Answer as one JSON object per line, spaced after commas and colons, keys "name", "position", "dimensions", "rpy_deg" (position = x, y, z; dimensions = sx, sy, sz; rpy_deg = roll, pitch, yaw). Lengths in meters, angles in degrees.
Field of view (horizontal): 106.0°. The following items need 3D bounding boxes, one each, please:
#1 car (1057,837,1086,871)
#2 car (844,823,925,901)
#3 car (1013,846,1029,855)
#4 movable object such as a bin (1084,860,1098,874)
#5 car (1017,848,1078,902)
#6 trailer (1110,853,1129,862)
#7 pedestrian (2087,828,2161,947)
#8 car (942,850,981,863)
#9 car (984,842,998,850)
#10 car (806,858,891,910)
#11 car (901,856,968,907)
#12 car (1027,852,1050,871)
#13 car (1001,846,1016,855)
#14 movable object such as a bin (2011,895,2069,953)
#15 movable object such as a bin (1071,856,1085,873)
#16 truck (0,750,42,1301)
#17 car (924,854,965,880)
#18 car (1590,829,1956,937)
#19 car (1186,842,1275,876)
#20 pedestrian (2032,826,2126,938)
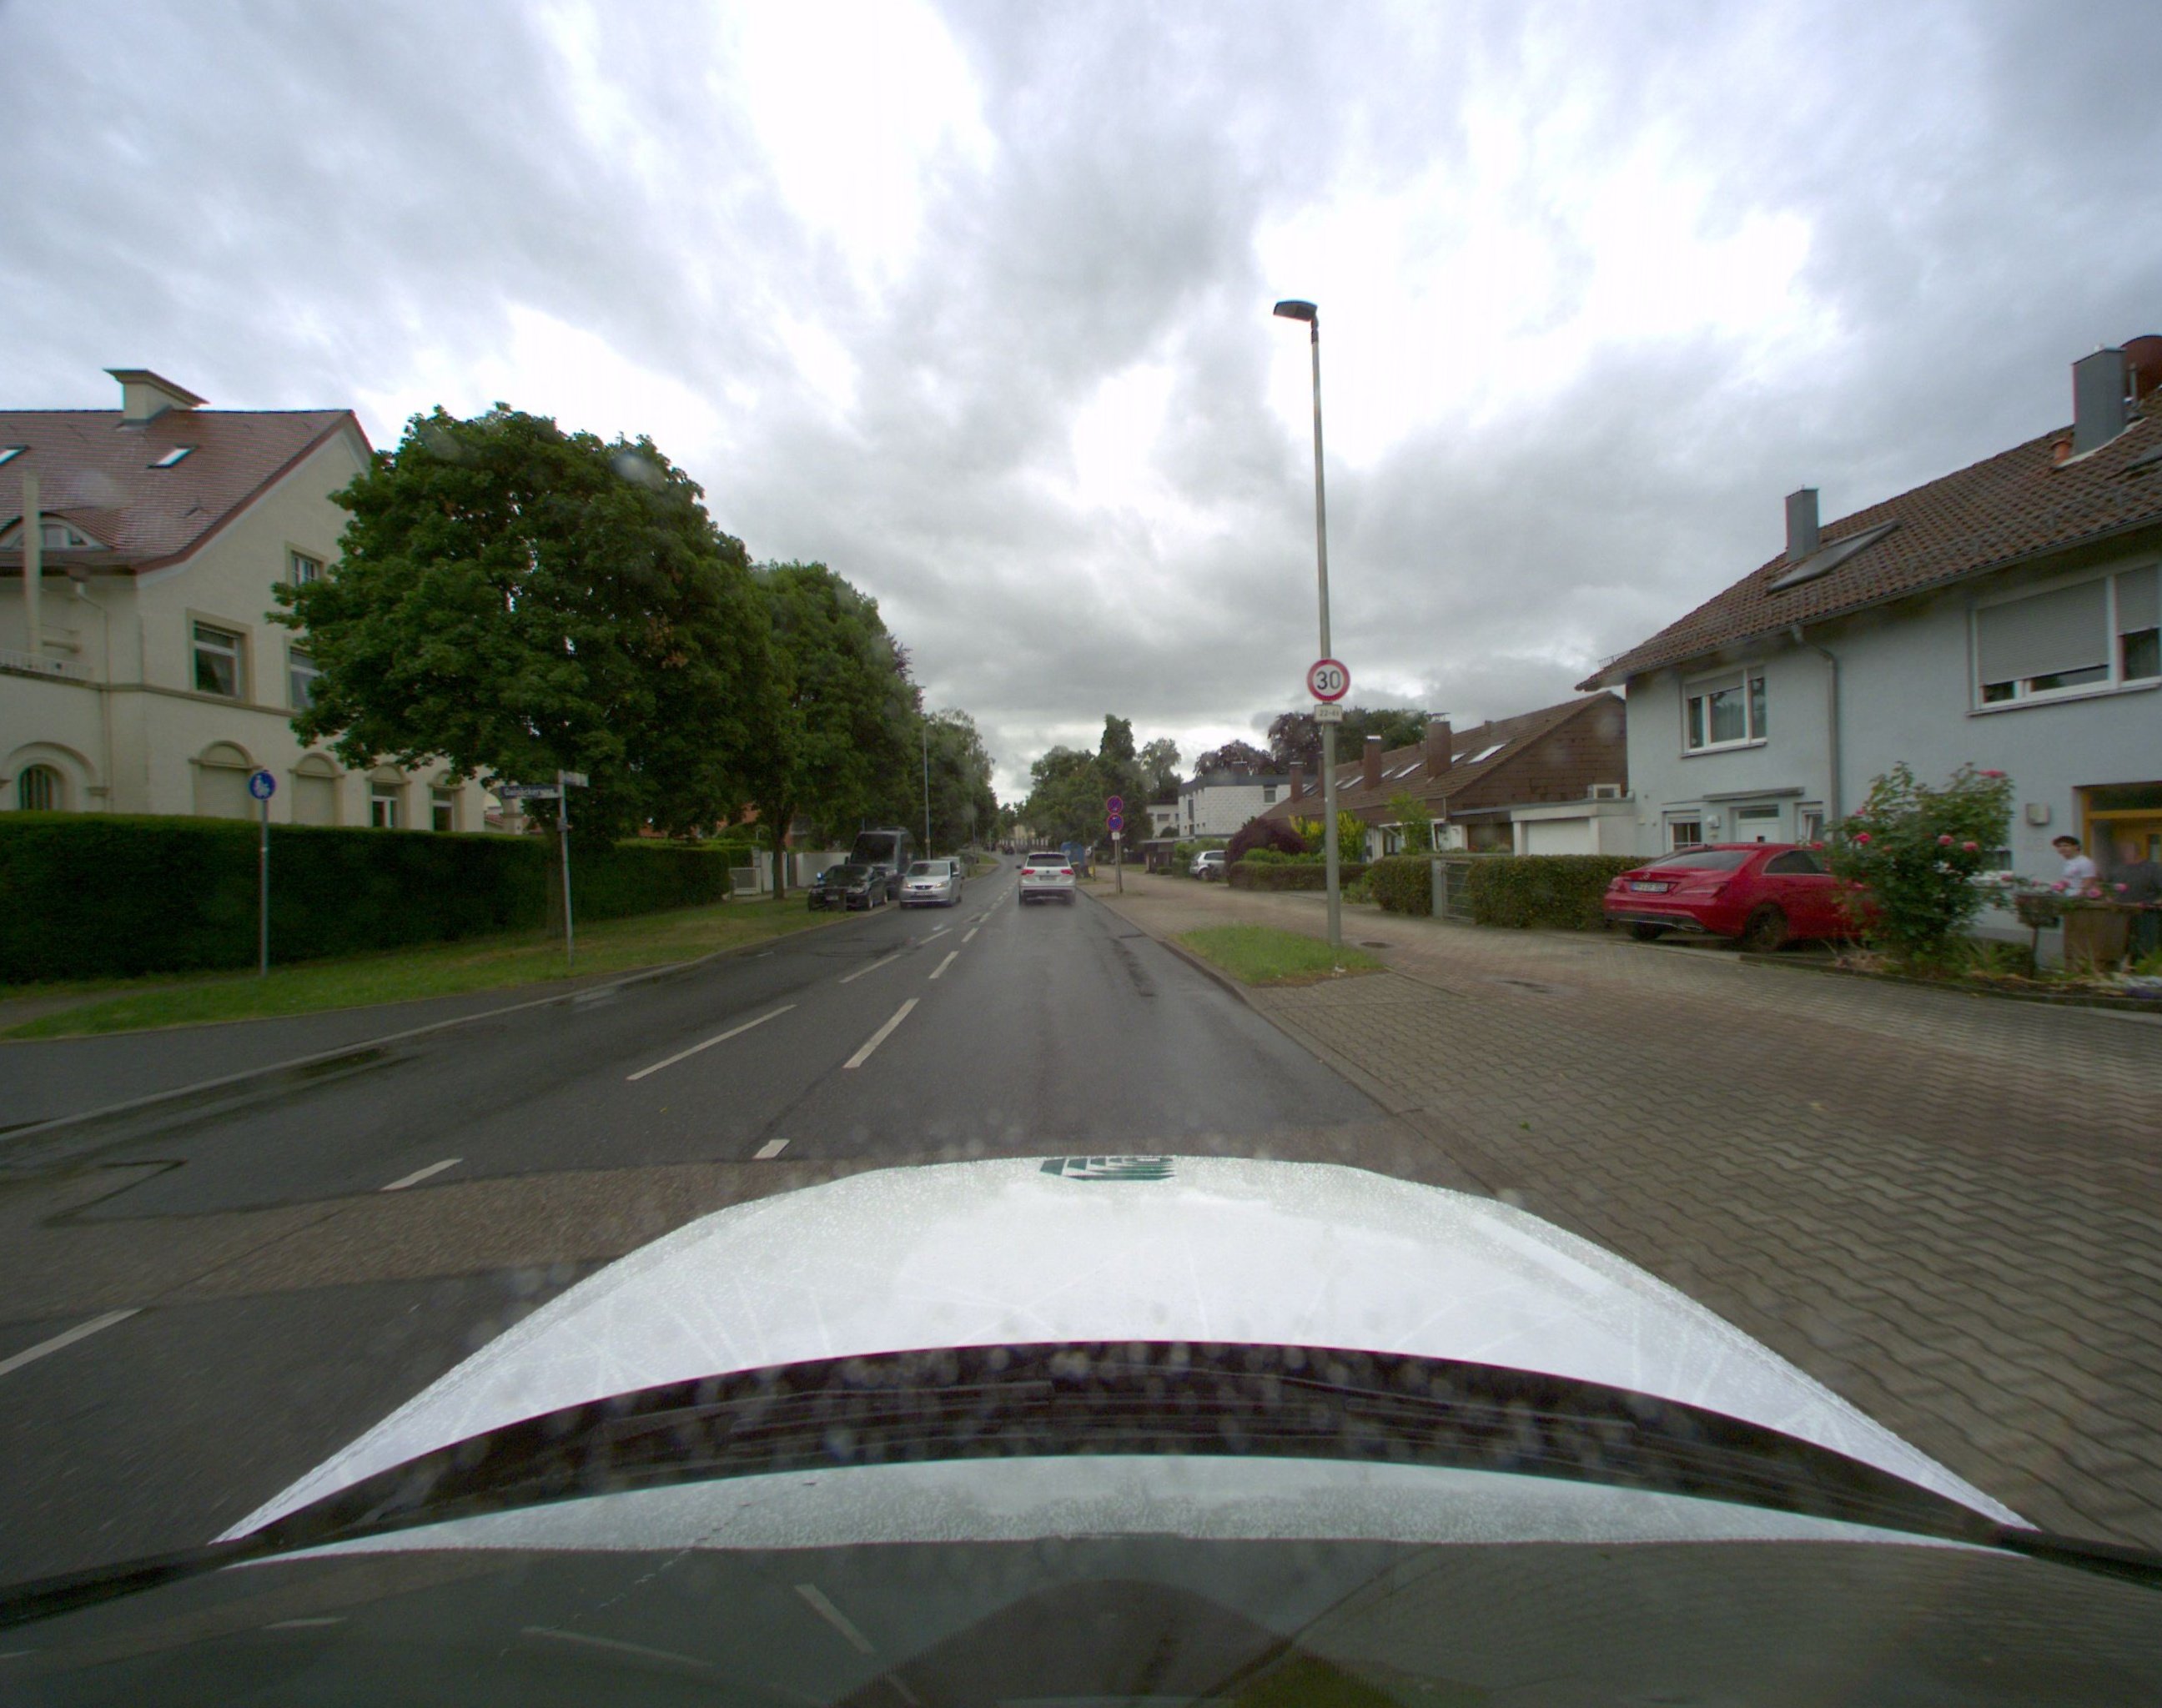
{"name": "car", "position": [-0.859, -0.058, 68.686], "dimensions": [1.990, 2.586, 5.625], "rpy_deg": [-4, 1, -4]}
{"name": "car", "position": [-7.562, 0.245, 31.988], "dimensions": [1.989, 2.728, 5.931], "rpy_deg": [-1, 1, -3]}
{"name": "car", "position": [-10.477, -0.619, 142.277], "dimensions": [1.649, 1.427, 3.970], "rpy_deg": [-1, 2, -23]}
{"name": "movable object such as a bin", "position": [0.623, 0.806, 51.876], "dimensions": [0.653, 0.800, 0.604], "rpy_deg": [-6, -1, 21]}
{"name": "car", "position": [-1.185, 0.648, 27.174], "dimensions": [1.862, 1.651, 3.994], "rpy_deg": [-1, 0, -4]}
{"name": "trailer", "position": [4.340, 0.373, 91.976], "dimensions": [2.036, 0.883, 1.364], "rpy_deg": [-1, 1, -1]}
{"name": "pedestrian", "position": [12.478, 0.378, 9.640], "dimensions": [0.537, 1.351, 0.526], "rpy_deg": [-2, 0, -17]}
{"name": "car", "position": [-14.127, 0.304, 96.416], "dimensions": [4.204, 1.362, 1.690], "rpy_deg": [-1, 1, 0]}
{"name": "car", "position": [-17.232, -1.459, 155.952], "dimensions": [1.648, 1.427, 3.973], "rpy_deg": [-1, 2, -21]}
{"name": "car", "position": [-7.051, 0.857, 25.046], "dimensions": [1.719, 1.408, 3.820], "rpy_deg": [-2, 0, -4]}
{"name": "car", "position": [-4.705, 0.835, 26.582], "dimensions": [1.590, 1.464, 3.450], "rpy_deg": [-3, 0, -2]}
{"name": "car", "position": [-3.736, 0.629, 71.159], "dimensions": [1.766, 1.551, 3.993], "rpy_deg": [-3, 0, -5]}
{"name": "car", "position": [-12.487, -0.635, 140.470], "dimensions": [1.648, 1.427, 3.973], "rpy_deg": [-1, 2, -21]}
{"name": "movable object such as a bin", "position": [10.967, 0.795, 9.319], "dimensions": [0.255, 0.626, 0.325], "rpy_deg": [-3, 0, -3]}
{"name": "movable object such as a bin", "position": [-0.211, 0.682, 52.317], "dimensions": [0.609, 1.015, 0.565], "rpy_deg": [-7, -1, 21]}
{"name": "truck", "position": [-5.640, 0.731, 0.195], "dimensions": [2.207, 2.203, 6.470], "rpy_deg": [-2, 0, 4]}
{"name": "car", "position": [-8.292, 0.763, 49.702], "dimensions": [1.990, 1.403, 4.550], "rpy_deg": [-2, 1, -4]}
{"name": "car", "position": [9.508, 0.328, 11.262], "dimensions": [4.309, 1.260, 1.671], "rpy_deg": [-1, 1, -14]}
{"name": "car", "position": [7.387, 0.255, 40.524], "dimensions": [3.981, 1.442, 1.844], "rpy_deg": [-3, 0, -6]}
{"name": "pedestrian", "position": [12.452, 0.336, 10.177], "dimensions": [0.492, 1.351, 0.567], "rpy_deg": [-2, 0, 19]}
